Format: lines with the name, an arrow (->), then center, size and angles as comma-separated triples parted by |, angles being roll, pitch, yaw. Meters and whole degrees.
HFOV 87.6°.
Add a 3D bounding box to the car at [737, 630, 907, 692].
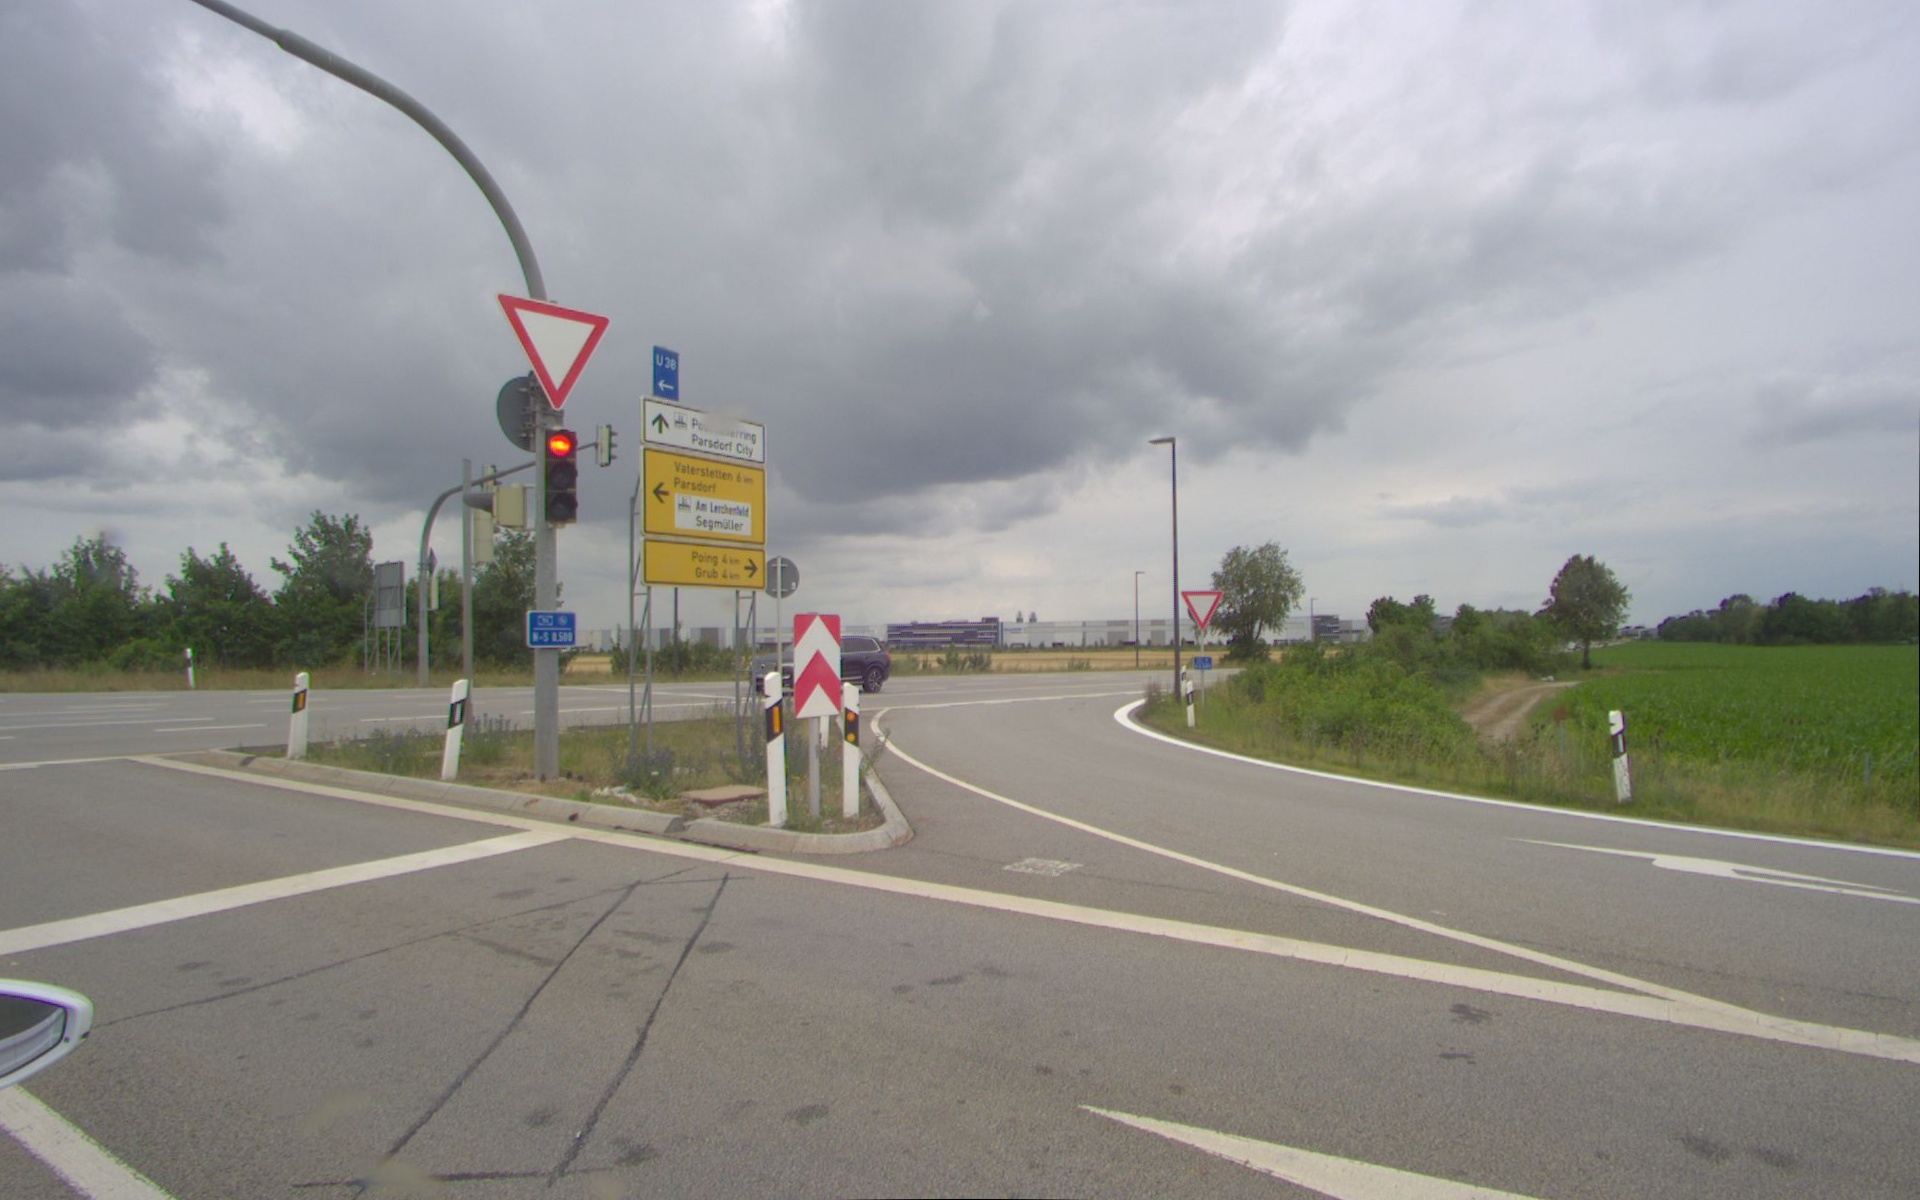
car -> -3.997, 1.785, 29.769 | 1.977, 1.705, 4.961 | -2, -3, 41
